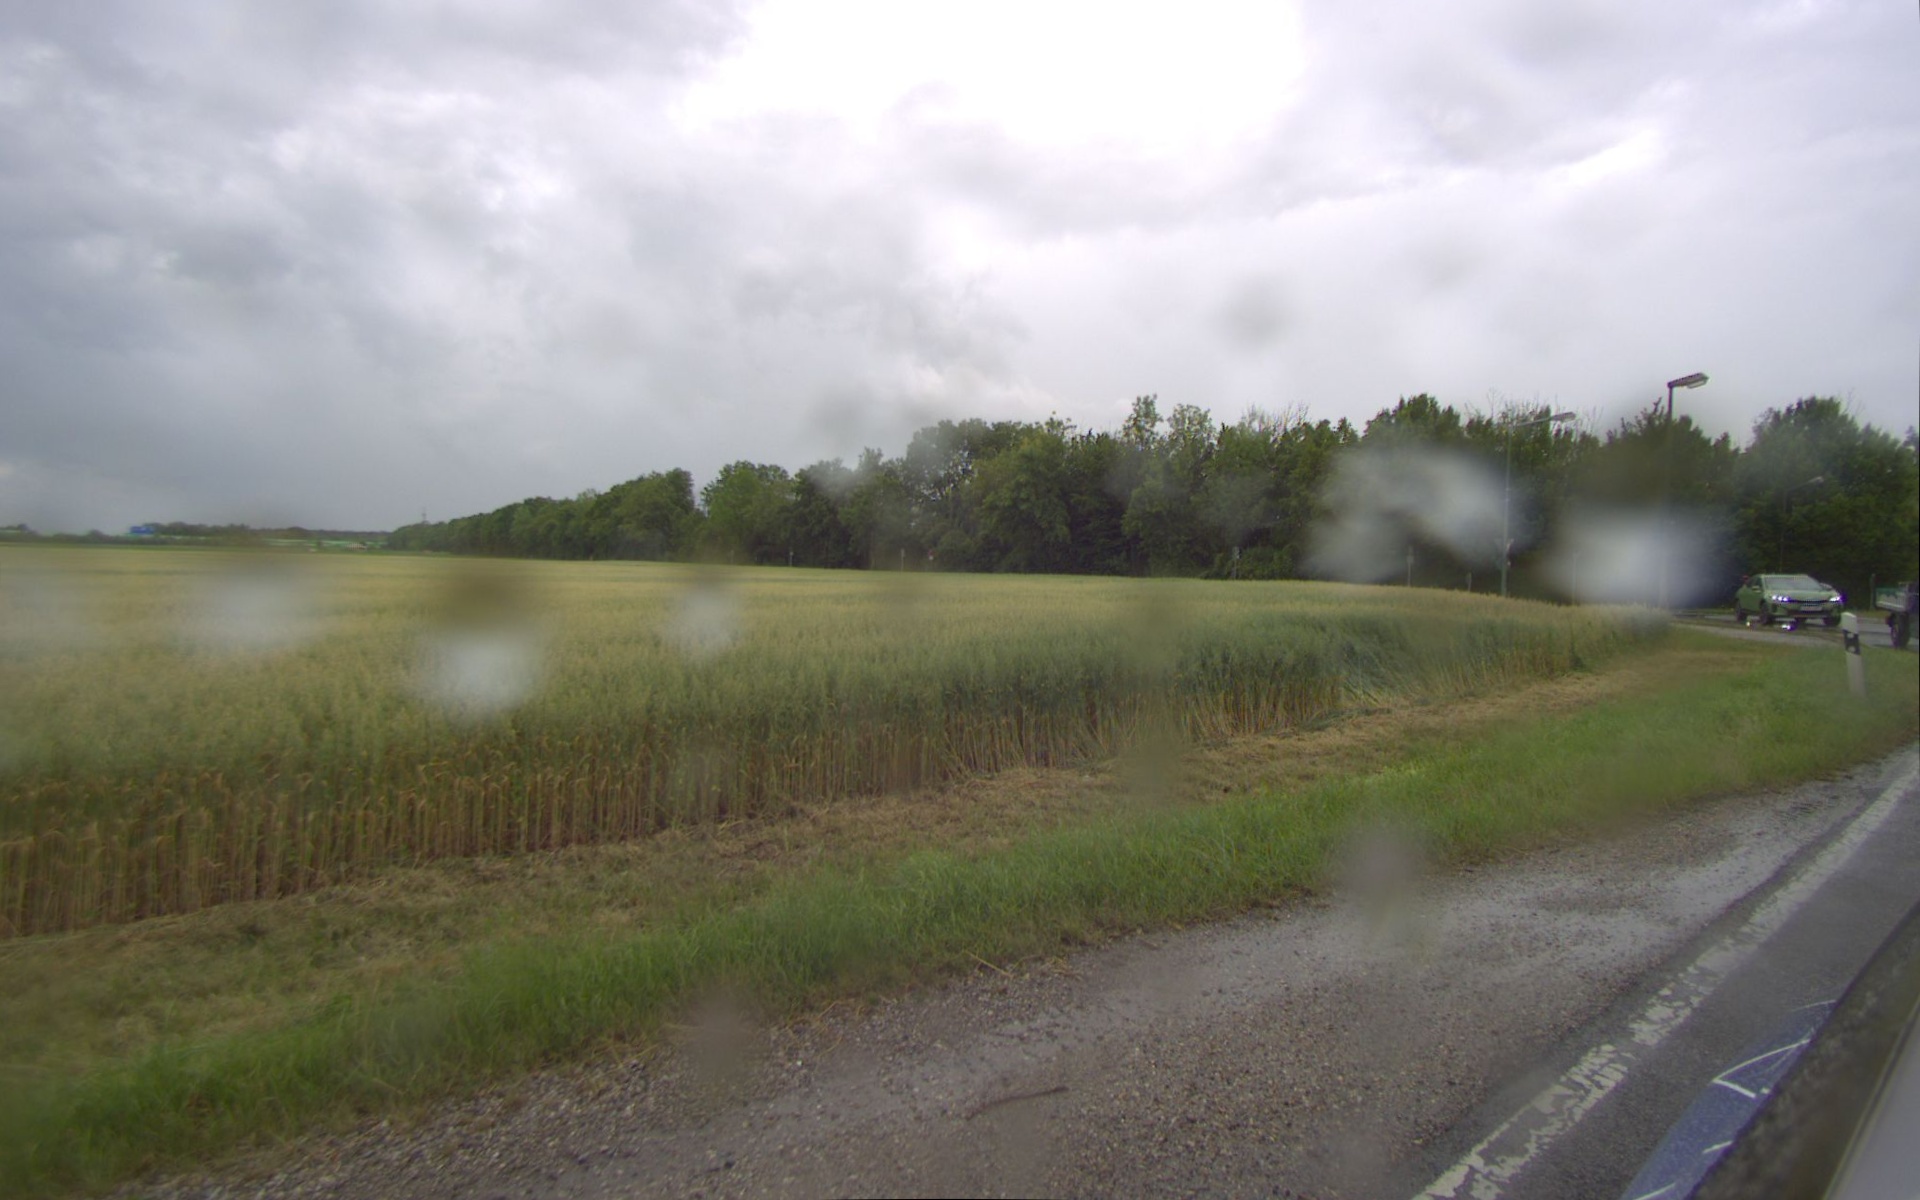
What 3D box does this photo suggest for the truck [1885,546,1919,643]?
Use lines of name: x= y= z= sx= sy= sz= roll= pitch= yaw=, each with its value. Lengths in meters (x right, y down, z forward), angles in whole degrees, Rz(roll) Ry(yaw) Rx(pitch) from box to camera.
truck: x=21.486 y=-0.121 z=21.113 sx=2.060 sy=2.087 sz=5.709 roll=-1 pitch=2 yaw=30

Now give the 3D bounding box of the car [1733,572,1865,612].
car: x=34.204 y=-0.336 z=41.297 sx=4.407 sy=1.550 sz=1.897 roll=0 pitch=1 yaw=-14

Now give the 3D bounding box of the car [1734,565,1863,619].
car: x=25.890 y=-0.274 z=31.454 sx=1.874 sy=1.550 sz=5.208 roll=1 pitch=1 yaw=26
